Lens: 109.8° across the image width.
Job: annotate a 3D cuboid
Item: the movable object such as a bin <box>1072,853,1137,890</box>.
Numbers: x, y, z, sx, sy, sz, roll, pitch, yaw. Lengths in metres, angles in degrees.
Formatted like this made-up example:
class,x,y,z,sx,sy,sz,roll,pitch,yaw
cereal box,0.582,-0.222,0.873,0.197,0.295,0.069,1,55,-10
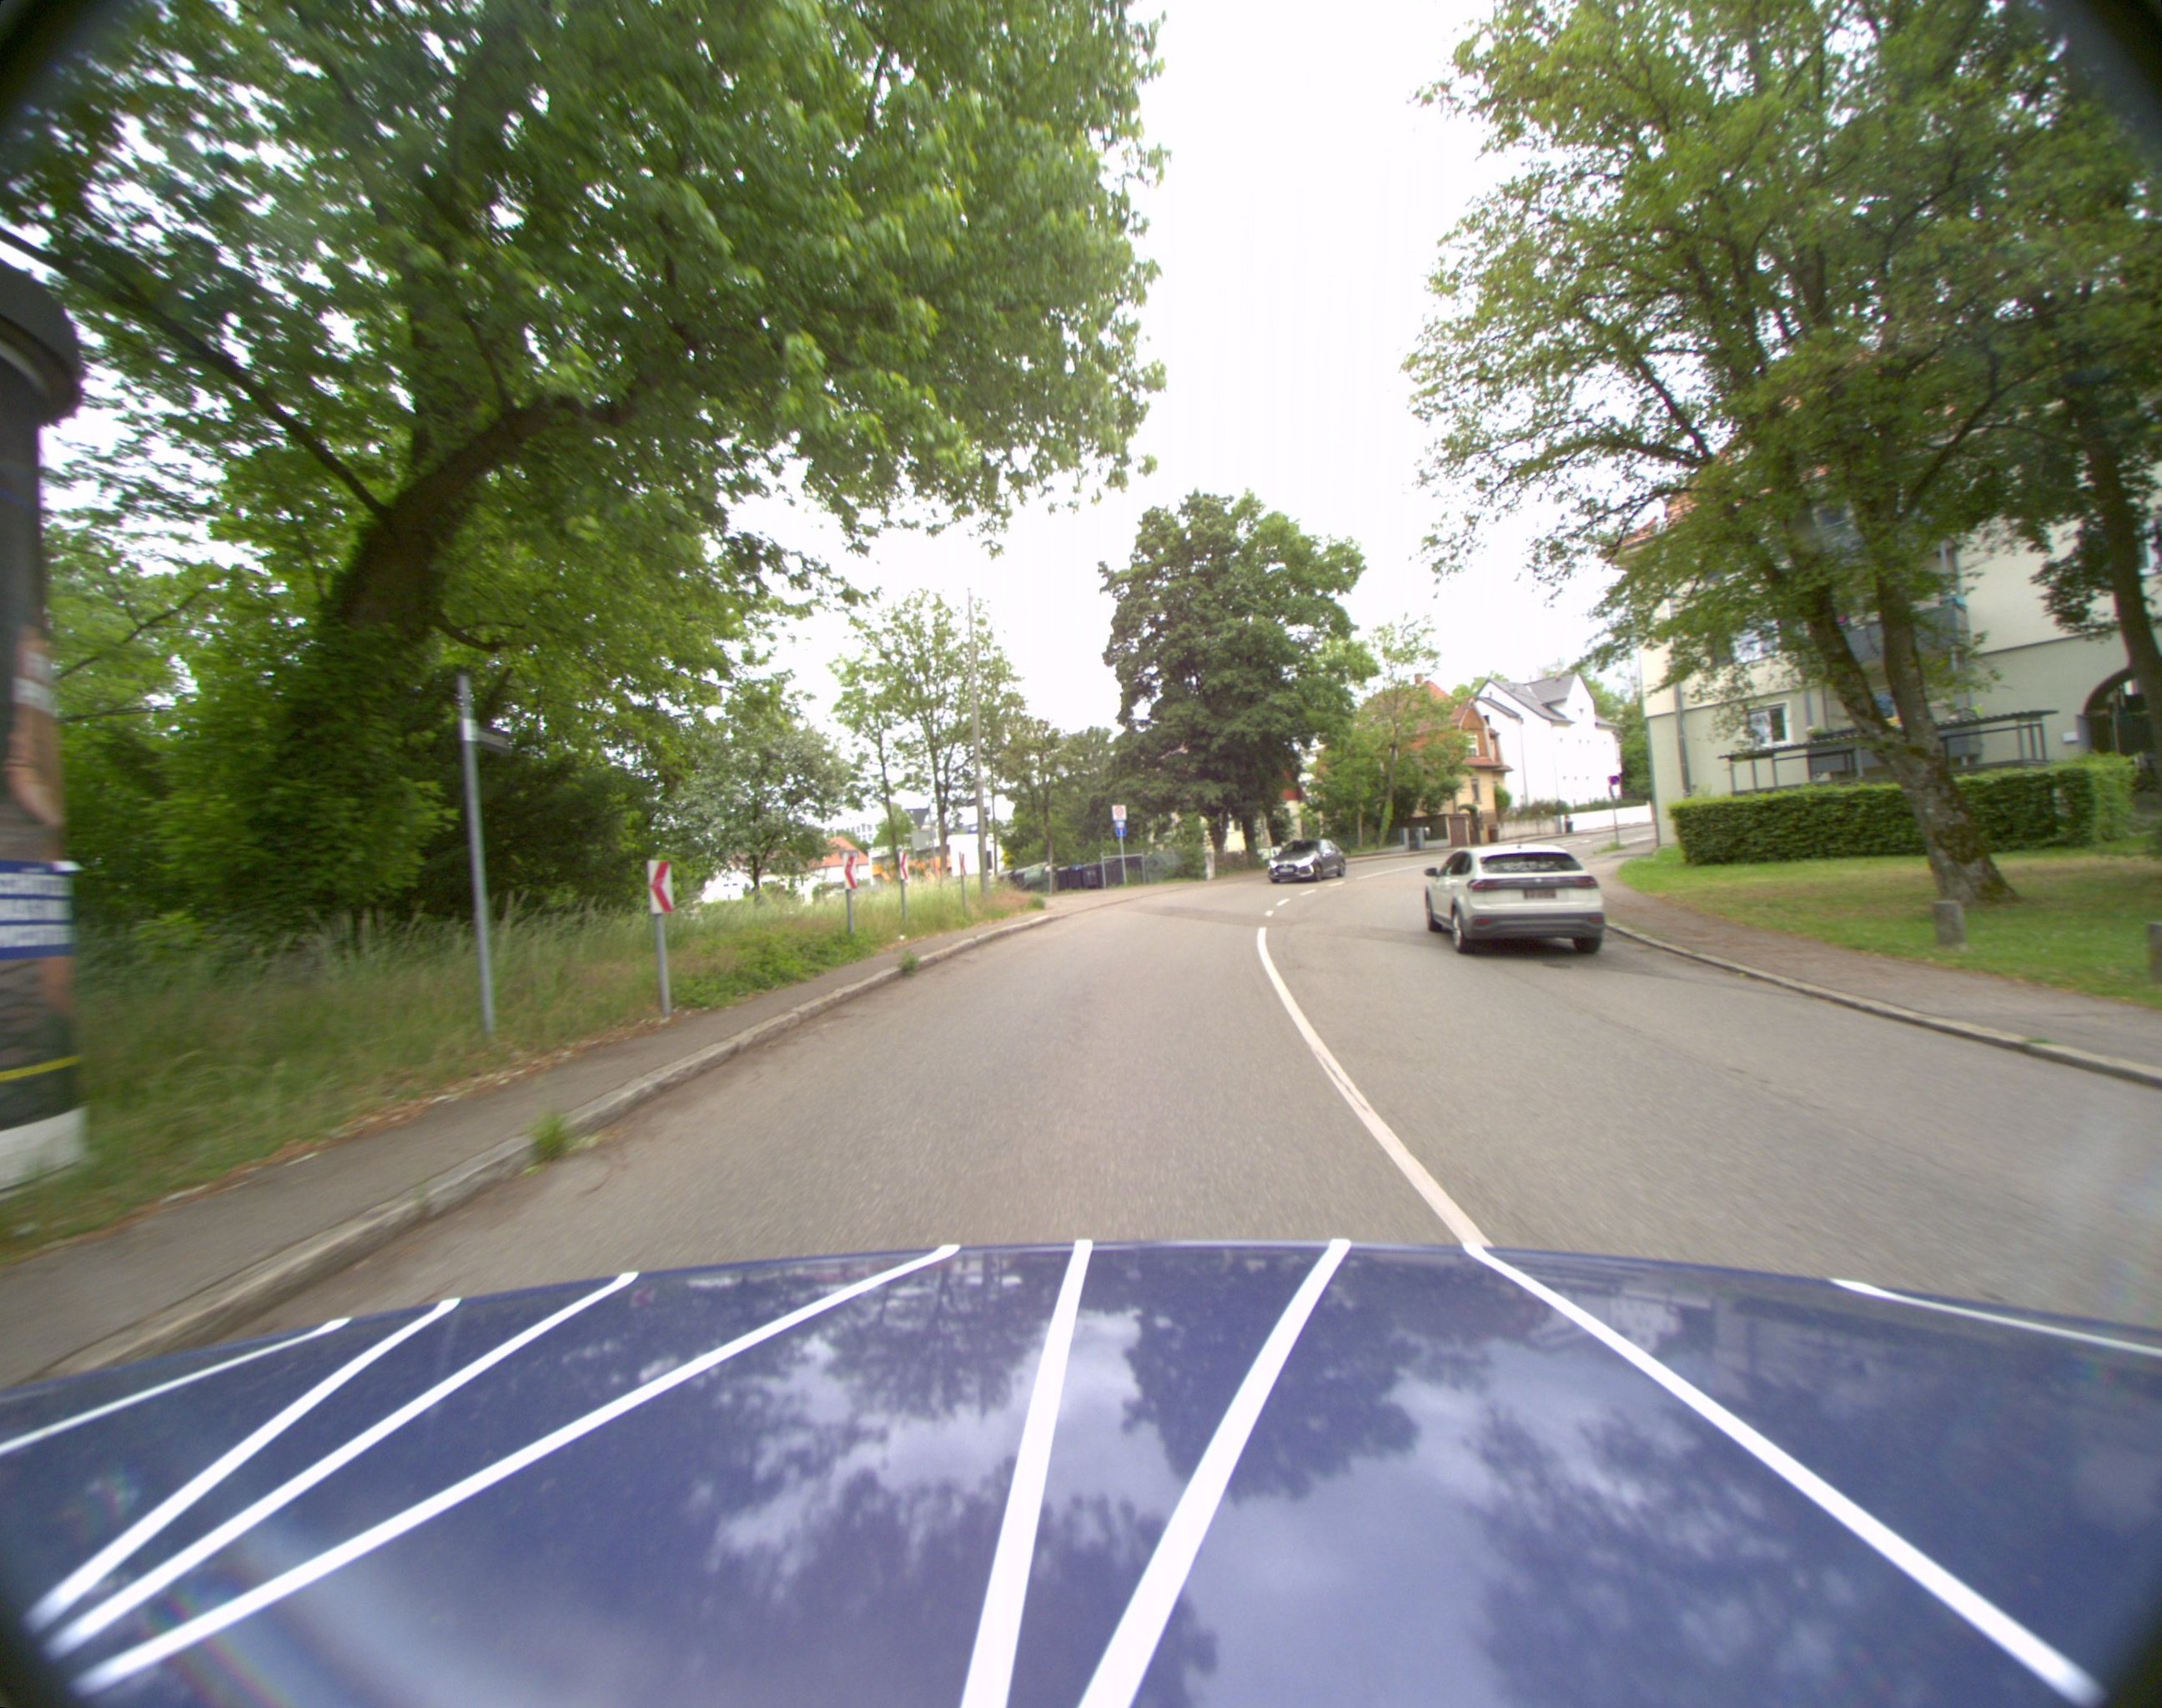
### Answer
class,x,y,z,sx,sy,sz,roll,pitch,yaw
movable object such as a bin,1.219,0.923,40.256,2.212,1.703,2.494,-5,1,-42

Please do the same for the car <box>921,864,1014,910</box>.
class,x,y,z,sx,sy,sz,roll,pitch,yaw
car,-4.896,1.446,32.687,3.664,1.389,1.834,-11,-3,40

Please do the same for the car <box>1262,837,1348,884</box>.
class,x,y,z,sx,sy,sz,roll,pitch,yaw
car,8.025,0.199,27.022,1.643,1.390,3.788,-2,2,38

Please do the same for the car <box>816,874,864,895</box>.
class,x,y,z,sx,sy,sz,roll,pitch,yaw
car,-49.785,6.337,157.212,8.291,3.363,3.996,-6,1,-38

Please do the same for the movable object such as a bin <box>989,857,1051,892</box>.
class,x,y,z,sx,sy,sz,roll,pitch,yaw
movable object such as a bin,-3.092,1.051,38.337,1.449,1.538,2.890,-5,0,-45

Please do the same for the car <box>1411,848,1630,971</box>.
class,x,y,z,sx,sy,sz,roll,pitch,yaw
car,6.286,0.676,11.405,1.727,1.449,4.082,-1,1,13

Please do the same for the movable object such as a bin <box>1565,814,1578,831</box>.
class,x,y,z,sx,sy,sz,roll,pitch,yaw
movable object such as a bin,35.518,-2.287,55.035,0.635,1.172,0.528,-6,4,-35

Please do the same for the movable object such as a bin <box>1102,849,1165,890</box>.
class,x,y,z,sx,sy,sz,roll,pitch,yaw
movable object such as a bin,2.629,0.776,38.201,2.212,1.776,2.105,-5,1,-42

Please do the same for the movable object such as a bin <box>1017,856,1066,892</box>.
class,x,y,z,sx,sy,sz,roll,pitch,yaw
movable object such as a bin,-1.871,0.938,36.276,1.678,1.538,1.423,-5,0,-45

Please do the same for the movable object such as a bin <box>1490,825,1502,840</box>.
class,x,y,z,sx,sy,sz,roll,pitch,yaw
movable object such as a bin,26.936,-1.377,49.300,0.567,0.919,0.461,-6,4,-35

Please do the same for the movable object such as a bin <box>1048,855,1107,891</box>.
class,x,y,z,sx,sy,sz,roll,pitch,yaw
movable object such as a bin,-0.199,1.047,42.175,2.212,1.722,2.230,-5,1,-42
